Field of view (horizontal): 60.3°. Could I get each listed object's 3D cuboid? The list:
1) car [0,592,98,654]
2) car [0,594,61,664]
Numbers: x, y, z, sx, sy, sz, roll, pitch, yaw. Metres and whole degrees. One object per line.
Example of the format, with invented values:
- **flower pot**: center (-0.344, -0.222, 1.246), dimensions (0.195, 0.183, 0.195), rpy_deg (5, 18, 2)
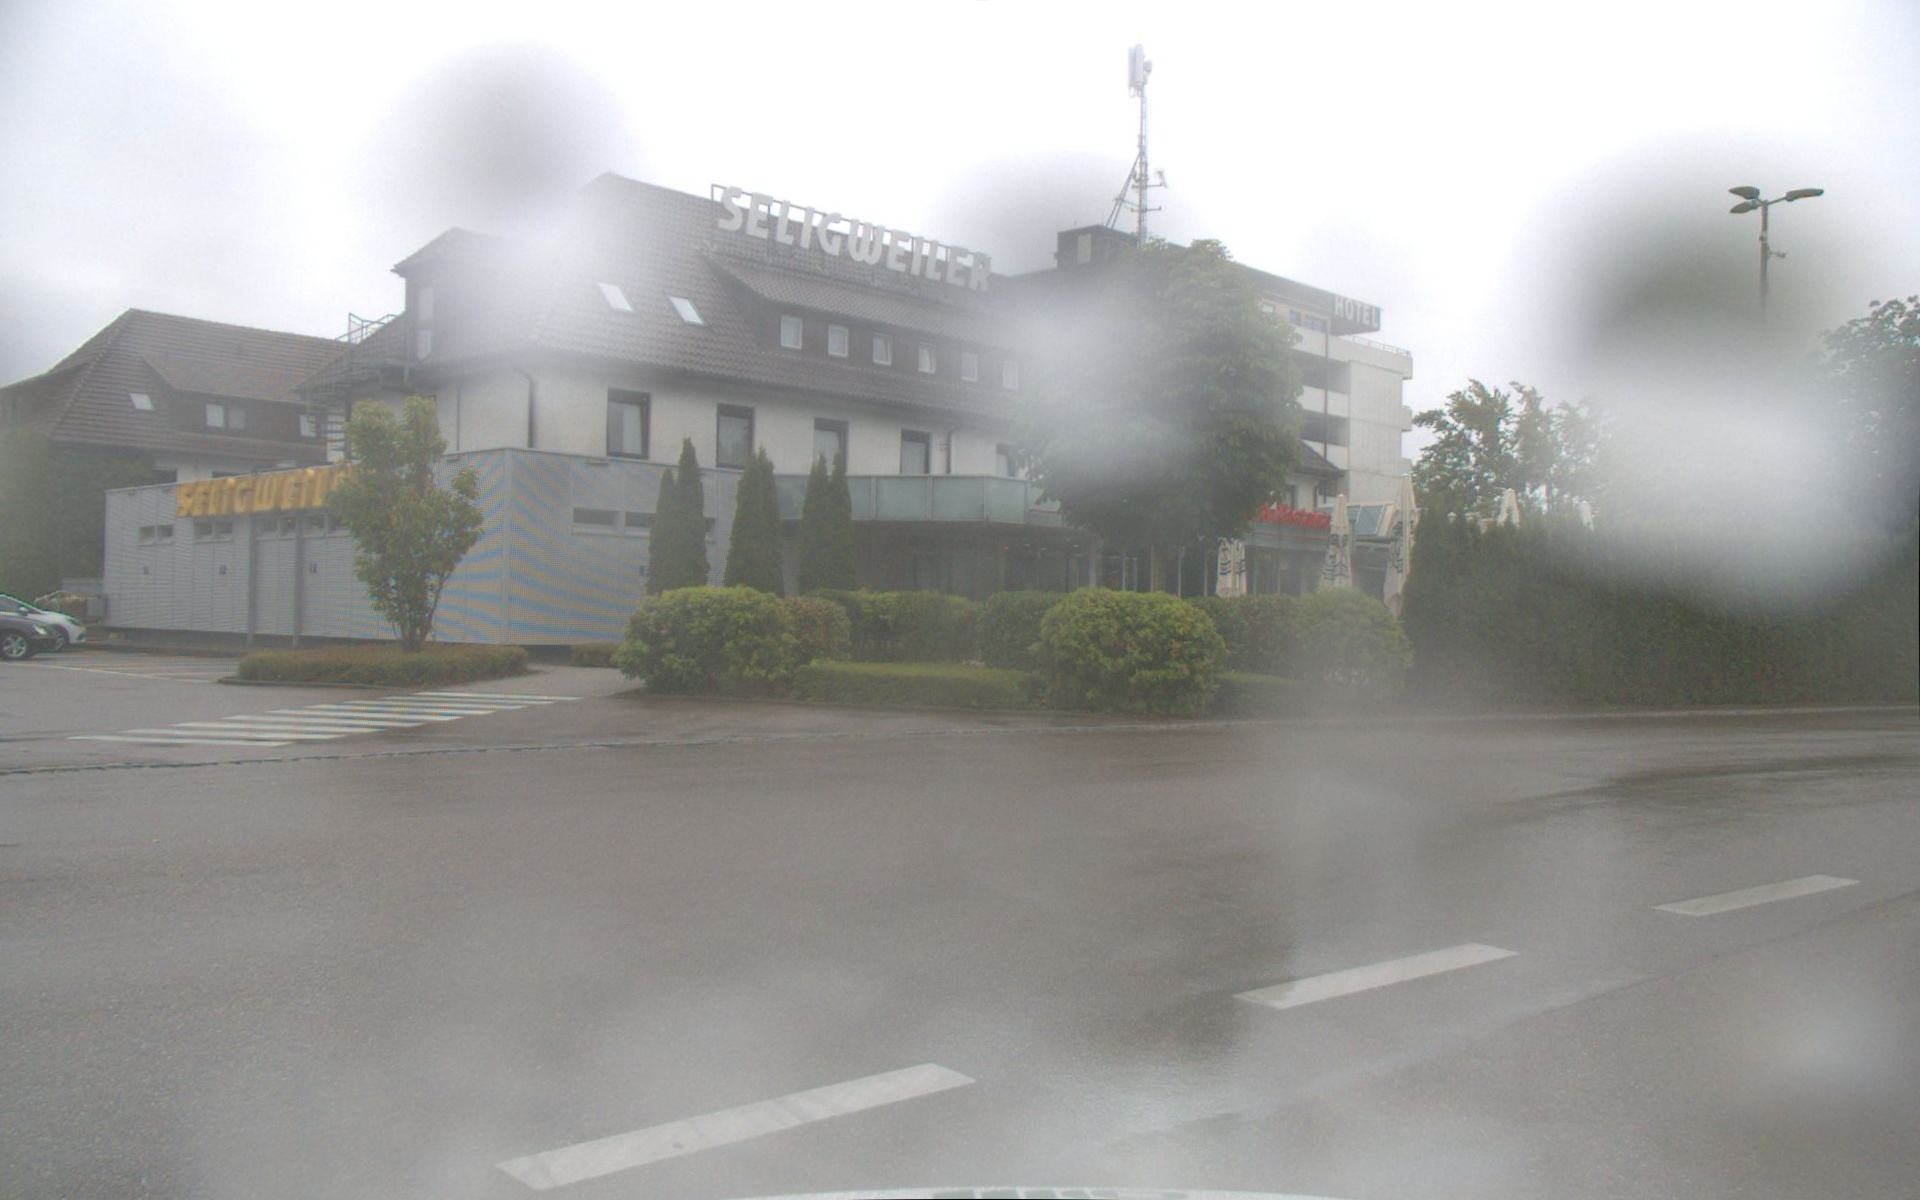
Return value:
- **car**: center (-23.116, 0.532, 39.322), dimensions (1.817, 1.450, 4.334), rpy_deg (0, -1, 42)
- **car**: center (-21.232, 0.591, 34.374), dimensions (4.288, 1.450, 1.694), rpy_deg (0, 0, -24)
